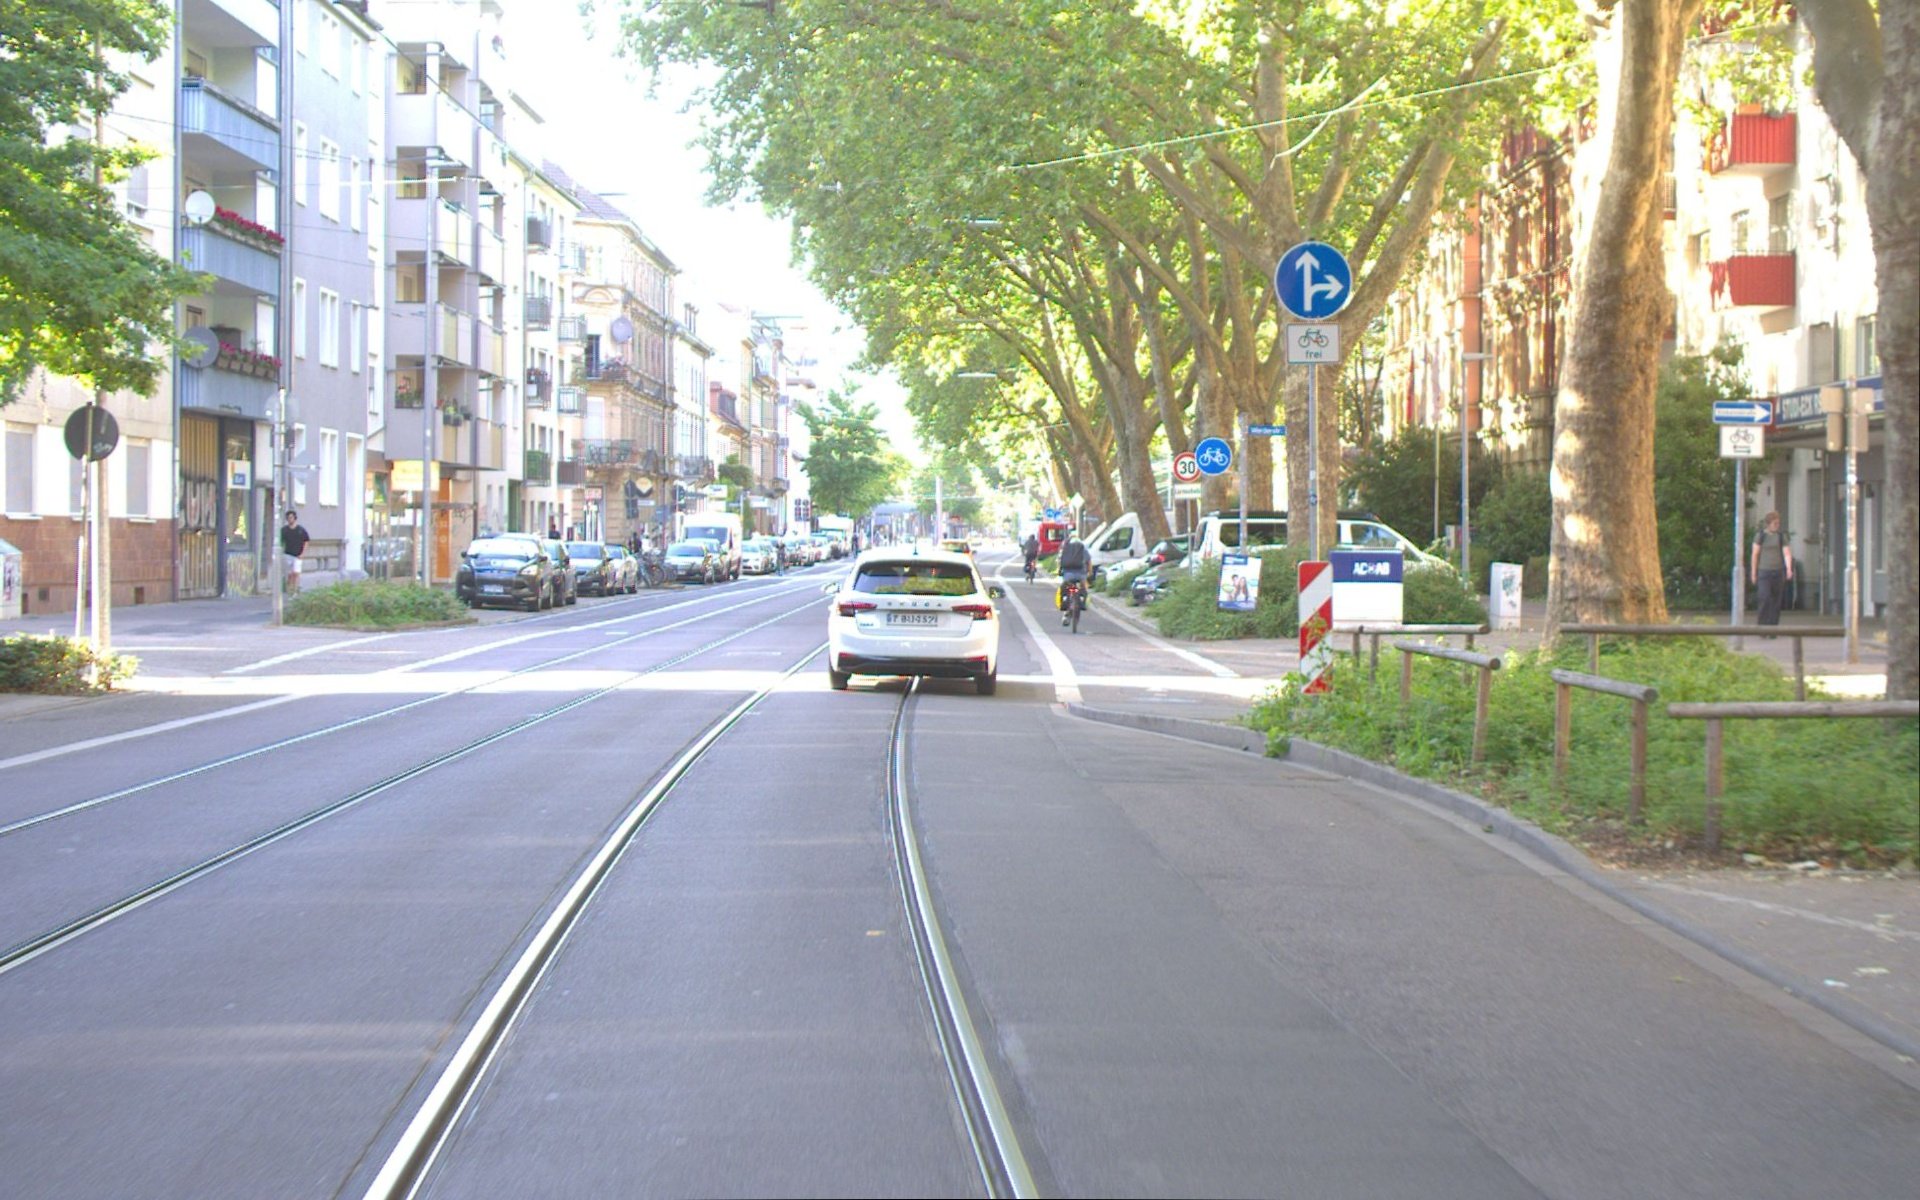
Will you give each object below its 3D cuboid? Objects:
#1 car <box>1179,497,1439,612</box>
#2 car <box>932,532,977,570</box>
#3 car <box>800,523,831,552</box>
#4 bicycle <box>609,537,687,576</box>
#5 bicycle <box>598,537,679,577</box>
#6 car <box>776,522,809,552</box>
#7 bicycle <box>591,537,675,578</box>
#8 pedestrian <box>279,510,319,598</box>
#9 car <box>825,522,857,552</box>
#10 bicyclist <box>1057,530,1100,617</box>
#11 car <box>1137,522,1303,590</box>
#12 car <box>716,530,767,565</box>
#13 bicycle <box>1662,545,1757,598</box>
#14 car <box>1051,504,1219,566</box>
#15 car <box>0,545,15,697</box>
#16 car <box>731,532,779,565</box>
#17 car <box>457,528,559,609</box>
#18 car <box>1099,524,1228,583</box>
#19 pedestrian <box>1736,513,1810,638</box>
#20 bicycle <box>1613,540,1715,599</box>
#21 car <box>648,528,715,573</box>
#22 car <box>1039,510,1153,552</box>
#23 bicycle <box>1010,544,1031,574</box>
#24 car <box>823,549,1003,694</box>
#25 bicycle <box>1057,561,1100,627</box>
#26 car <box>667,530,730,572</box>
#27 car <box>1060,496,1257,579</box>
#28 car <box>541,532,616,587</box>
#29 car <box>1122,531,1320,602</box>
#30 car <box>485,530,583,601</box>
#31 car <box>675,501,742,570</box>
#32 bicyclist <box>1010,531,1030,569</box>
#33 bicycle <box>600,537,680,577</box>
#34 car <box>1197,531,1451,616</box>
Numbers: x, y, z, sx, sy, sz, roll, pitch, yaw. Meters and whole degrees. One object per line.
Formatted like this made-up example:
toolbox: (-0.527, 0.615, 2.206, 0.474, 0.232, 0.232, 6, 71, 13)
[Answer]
car: (6.412, -0.847, 63.521, 4.543, 2.069, 2.001, 0, 1, -2)
car: (-0.203, -1.950, 136.355, 1.761, 1.470, 4.000, 0, 1, 1)
car: (-10.437, -4.508, 248.021, 1.993, 2.007, 4.000, 1, 1, 0)
bicycle: (-10.272, -1.428, 113.203, 2.524, 1.168, 0.719, 2, -1, -6)
bicycle: (-10.246, -1.357, 109.424, 2.524, 1.168, 0.719, 2, -1, -6)
car: (-11.373, -4.305, 233.732, 1.993, 2.007, 4.000, 0, 1, 0)
bicycle: (-10.311, -1.344, 108.543, 2.525, 1.168, 0.883, 2, -1, -39)
pedestrian: (-13.663, -0.952, 71.062, 0.663, 1.820, 0.965, 0, 1, -1)
car: (-8.159, -4.326, 236.170, 1.993, 2.007, 4.000, 0, 1, 0)
bicyclist: (1.972, -0.451, 57.319, 0.678, 1.438, 1.047, 0, 1, 1)
car: (6.466, -1.110, 85.649, 3.987, 1.674, 1.723, 0, 1, -1)
car: (-9.672, -2.344, 152.615, 1.993, 1.525, 4.000, 0, 1, 0)
bicycle: (15.434, -0.595, 70.830, 1.791, 1.038, 0.618, -2, 1, -3)
car: (6.535, -2.445, 129.123, 6.130, 2.274, 2.529, 0, 1, -1)
car: (-9.948, 0.185, 31.214, 1.713, 1.459, 4.378, 3, 1, -4)
car: (-9.621, -2.454, 161.769, 1.993, 1.525, 4.000, 0, 1, 0)
car: (-9.908, -0.723, 75.587, 1.702, 1.645, 4.242, 3, 1, -1)
car: (5.810, -1.328, 98.269, 3.634, 1.660, 1.822, 0, 1, 3)
pedestrian: (12.291, -0.377, 52.003, 0.766, 1.860, 1.189, 0, 1, -3)
bicycle: (14.520, -0.628, 70.906, 1.944, 1.153, 0.572, -2, 1, -7)
car: (-9.751, -1.752, 120.564, 1.993, 1.525, 4.000, 0, 1, 0)
car: (7.453, -3.804, 189.346, 6.130, 2.274, 2.529, 0, 1, -1)
bicycle: (2.131, -1.457, 121.673, 0.649, 1.067, 1.583, 0, 1, -2)
car: (-0.496, 0.181, 35.673, 1.761, 1.379, 4.000, 0, 1, -1)
bicycle: (1.969, -0.103, 57.333, 0.681, 1.067, 1.781, 0, 1, 1)
car: (-9.577, -1.825, 126.344, 1.993, 1.525, 4.000, 0, 1, 0)
car: (6.356, -2.022, 110.507, 6.130, 2.626, 2.529, 0, 1, -1)
car: (-10.102, -1.088, 91.182, 1.653, 1.432, 3.837, 0, 1, -1)
car: (5.647, -0.741, 74.747, 4.142, 1.509, 1.931, 0, 1, -1)
car: (-9.974, -0.833, 80.748, 1.702, 1.539, 4.242, 3, 1, 0)
car: (-9.657, -2.474, 132.278, 2.178, 2.588, 4.949, 0, 1, 0)
bicyclist: (2.125, -1.776, 121.679, 0.649, 1.339, 0.934, 0, 1, -2)
bicycle: (-10.258, -1.374, 110.311, 2.524, 1.168, 0.719, 2, -1, -4)
car: (6.418, -0.474, 60.949, 4.297, 1.474, 1.831, 0, 1, -1)
